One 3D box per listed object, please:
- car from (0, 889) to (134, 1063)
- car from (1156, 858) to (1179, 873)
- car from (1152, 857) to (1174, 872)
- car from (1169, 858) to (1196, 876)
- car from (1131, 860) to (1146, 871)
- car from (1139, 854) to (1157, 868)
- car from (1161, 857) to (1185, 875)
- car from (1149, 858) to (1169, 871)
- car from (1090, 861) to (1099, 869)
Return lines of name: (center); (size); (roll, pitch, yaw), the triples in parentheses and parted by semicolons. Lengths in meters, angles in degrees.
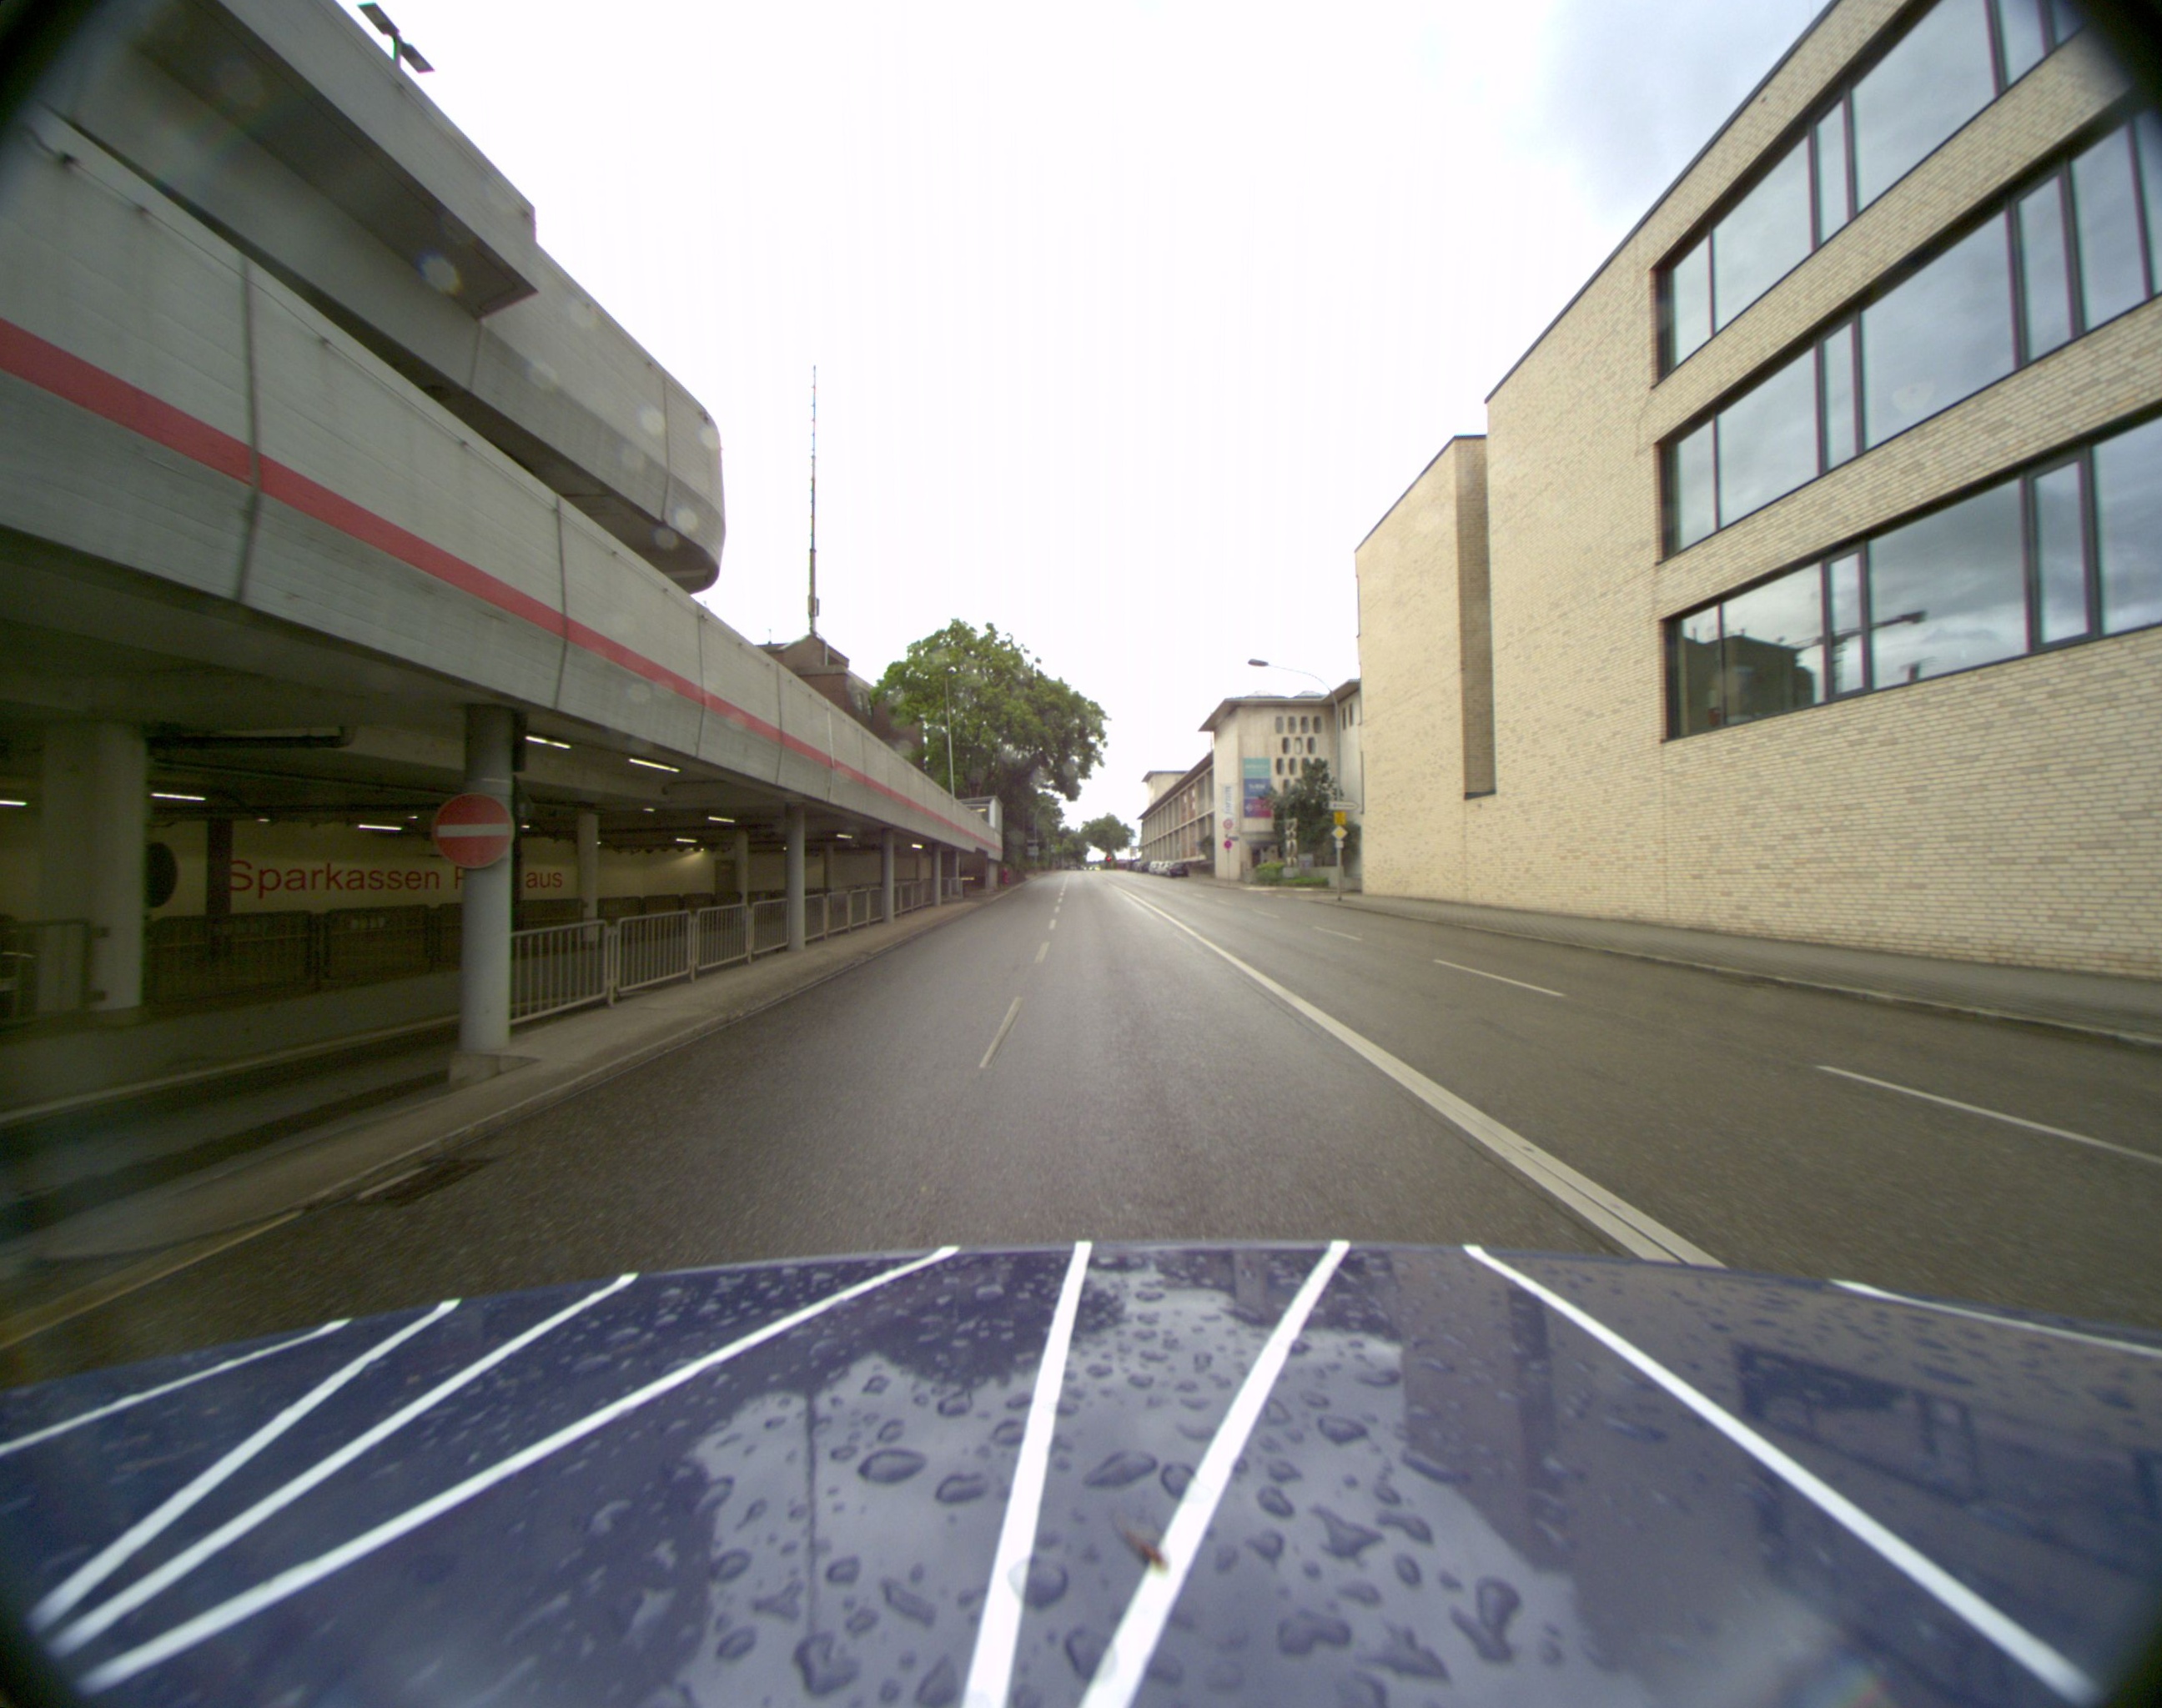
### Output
car: (-11.291, 1.083, 6.837); (3.730, 1.496, 1.809); (0, -1, 8)
car: (9.576, 1.286, 84.338); (1.998, 1.503, 4.000); (-3, 1, 1)
car: (9.622, 1.231, 89.347); (1.998, 1.482, 4.185); (-3, 1, 0)
car: (9.762, 1.271, 73.283); (1.999, 1.520, 3.999); (-3, 1, -1)
car: (9.417, 1.876, 125.139); (1.999, 1.637, 3.998); (-4, 2, -1)
car: (9.187, 0.973, 103.948); (1.999, 1.701, 3.999); (-2, 1, -1)
car: (9.534, 1.198, 79.076); (1.999, 1.632, 3.999); (-3, 1, 0)
car: (9.743, 1.308, 95.511); (1.999, 1.521, 3.999); (-1, 1, -1)
car: (3.450, 2.862, 195.078); (1.805, 2.002, 3.997); (-3, 1, -6)
